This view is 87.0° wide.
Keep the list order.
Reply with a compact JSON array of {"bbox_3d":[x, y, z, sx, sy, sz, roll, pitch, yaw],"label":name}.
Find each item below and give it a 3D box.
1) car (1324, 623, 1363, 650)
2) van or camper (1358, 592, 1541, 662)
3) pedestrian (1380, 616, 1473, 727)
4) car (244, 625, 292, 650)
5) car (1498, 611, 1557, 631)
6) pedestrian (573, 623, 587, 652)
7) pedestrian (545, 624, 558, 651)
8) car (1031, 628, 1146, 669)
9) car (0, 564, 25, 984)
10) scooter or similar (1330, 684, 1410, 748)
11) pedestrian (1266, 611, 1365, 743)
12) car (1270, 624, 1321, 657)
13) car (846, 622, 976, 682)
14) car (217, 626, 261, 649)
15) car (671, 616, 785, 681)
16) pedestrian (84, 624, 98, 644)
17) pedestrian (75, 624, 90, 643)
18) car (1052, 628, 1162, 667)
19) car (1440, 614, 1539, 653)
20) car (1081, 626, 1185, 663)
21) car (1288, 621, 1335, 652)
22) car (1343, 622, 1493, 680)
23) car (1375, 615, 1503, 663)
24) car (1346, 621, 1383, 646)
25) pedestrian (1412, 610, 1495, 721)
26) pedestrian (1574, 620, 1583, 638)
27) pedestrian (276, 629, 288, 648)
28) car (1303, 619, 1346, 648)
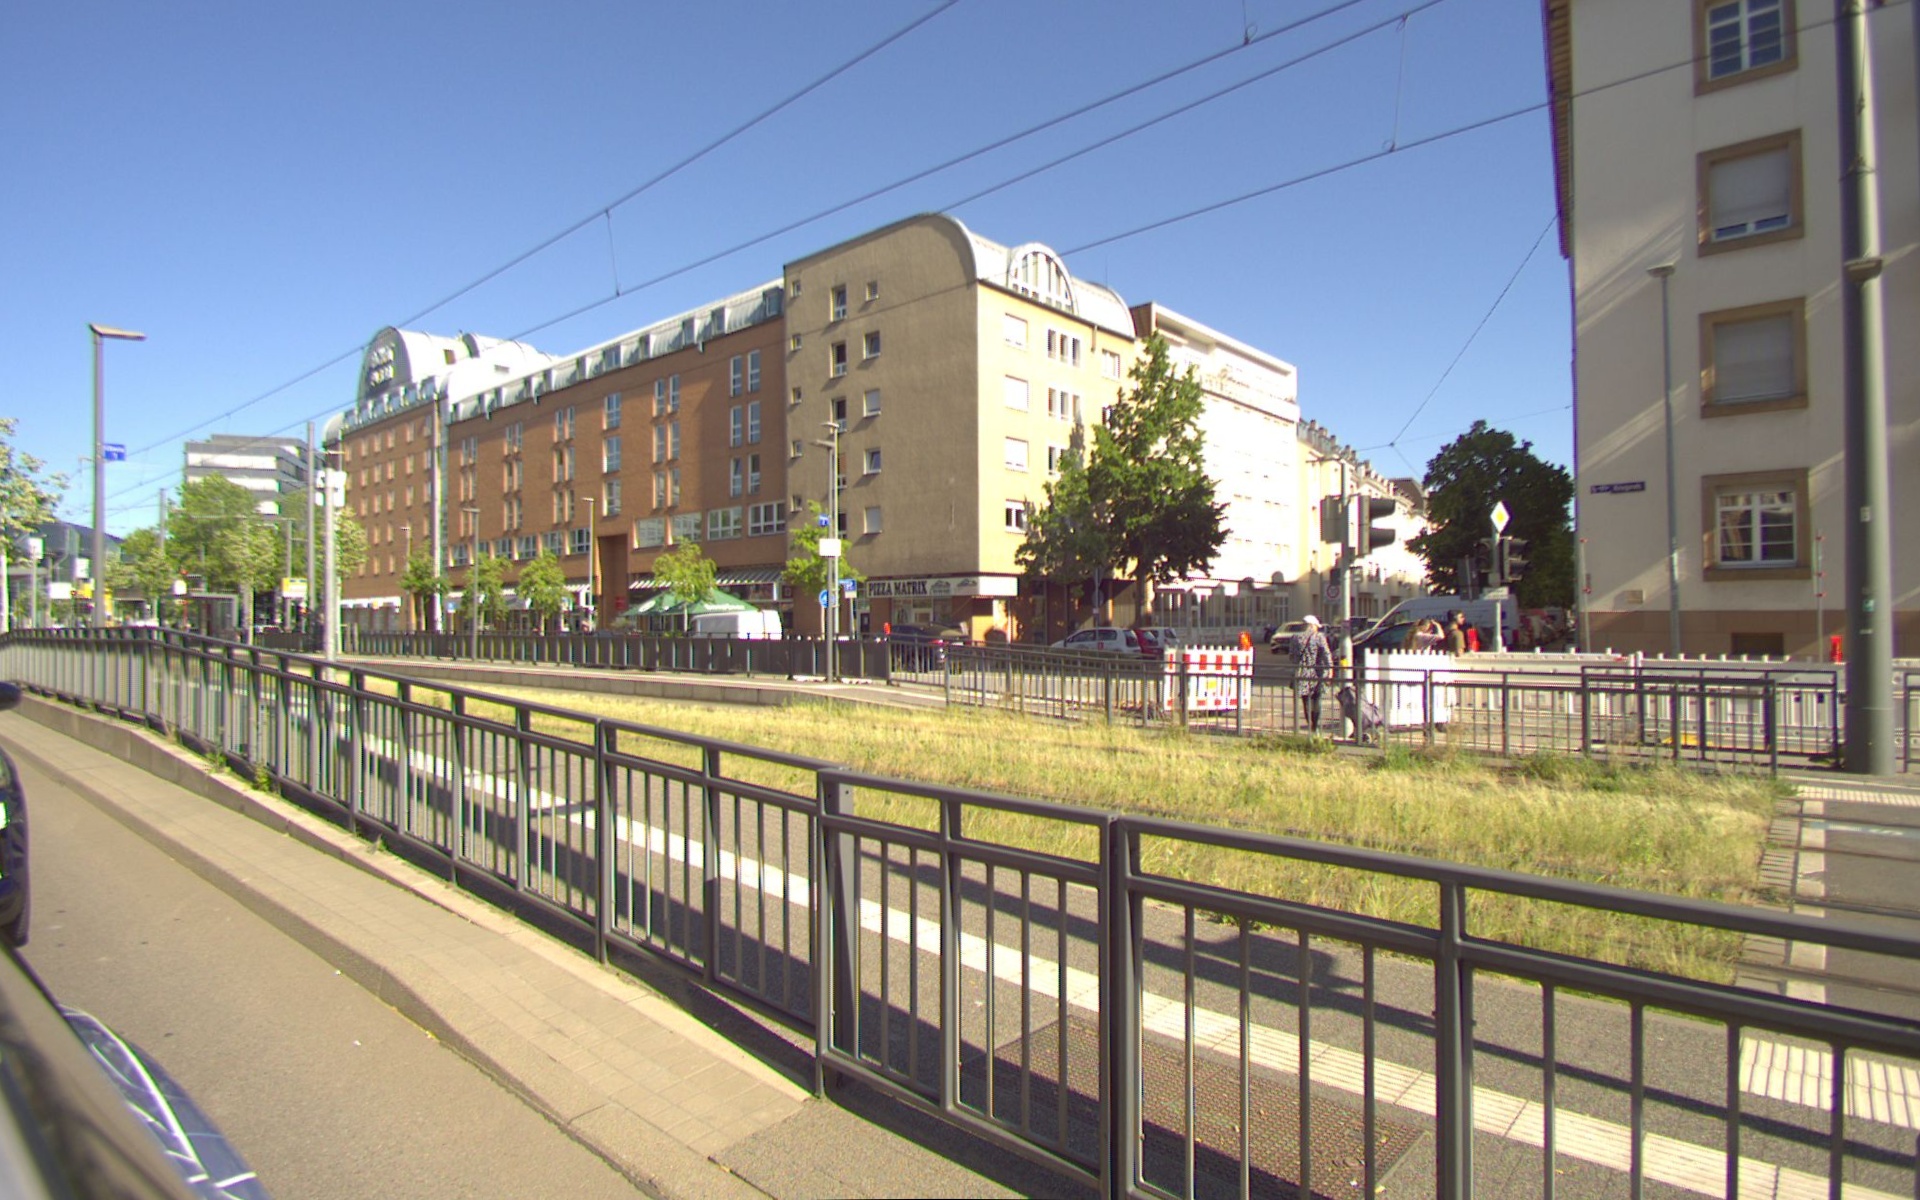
[{"bbox_3d":[25.075,2.369,66.085,1.947,1.674,3.962,-1,-2,28],"label":"car"},{"bbox_3d":[18.026,1.007,37.419,5.933,2.419,1.979,-1,-2,30],"label":"van or camper"},{"bbox_3d":[6.855,1.024,14.889,0.853,1.548,0.911,-1,-1,-37],"label":"pedestrian"},{"bbox_3d":[-50.924,2.730,74.413,3.998,1.696,1.973,-1,0,41],"label":"car"},{"bbox_3d":[44.504,1.657,79.405,3.853,1.472,1.740,-1,-2,24],"label":"car"},{"bbox_3d":[-24.841,2.460,66.116,0.644,1.854,0.614,-2,-2,41],"label":"pedestrian"},{"bbox_3d":[-28.187,2.600,69.835,0.644,1.854,0.614,-2,-2,39],"label":"pedestrian"},{"bbox_3d":[4.902,1.827,38.643,3.980,1.462,1.768,-1,-2,28],"label":"car"},{"bbox_3d":[-5.736,0.699,4.594,3.998,1.618,1.779,-1,0,41],"label":"car"},{"bbox_3d":[4.819,1.355,11.911,0.507,0.656,0.711,-1,-1,-22],"label":"scooter or similar"},{"bbox_3d":[4.412,0.925,12.588,0.784,1.548,0.818,-1,-1,-22],"label":"pedestrian"},{"bbox_3d":[17.770,2.094,53.484,1.947,1.674,3.962,-1,-2,28],"label":"car"},{"bbox_3d":[-1.587,1.589,31.941,3.997,1.773,1.796,-2,-2,40],"label":"car"},{"bbox_3d":[-57.673,2.945,80.911,3.998,1.696,1.973,-1,0,41],"label":"car"},{"bbox_3d":[-9.315,1.861,40.213,1.969,2.388,5.653,0,-2,-41],"label":"car"},{"bbox_3d":[-70.962,2.764,82.629,0.599,1.581,0.911,-2,-1,-28],"label":"pedestrian"},{"bbox_3d":[-72.271,2.742,83.316,0.602,1.581,0.726,-1,-1,4],"label":"pedestrian"},{"bbox_3d":[5.854,1.882,40.414,3.980,1.462,1.768,-1,-2,28],"label":"car"},{"bbox_3d":[25.220,1.577,48.203,3.990,1.789,1.722,-1,-2,35],"label":"car"},{"bbox_3d":[7.238,1.849,42.414,3.980,1.462,1.768,-1,-2,28],"label":"car"},{"bbox_3d":[19.981,2.041,57.435,1.947,1.674,3.962,-1,-2,28],"label":"car"},{"bbox_3d":[12.951,1.411,28.678,3.662,1.533,1.673,-1,-2,32],"label":"car"},{"bbox_3d":[15.827,1.274,33.482,3.654,1.533,1.673,-1,-2,32],"label":"car"},{"bbox_3d":[28.208,2.300,70.522,1.947,1.674,3.962,-1,-2,28],"label":"car"},{"bbox_3d":[8.412,1.086,17.251,0.853,1.794,0.912,-1,-1,-30],"label":"pedestrian"},{"bbox_3d":[62.812,2.967,102.747,0.687,1.768,0.807,-2,-2,34],"label":"pedestrian"},{"bbox_3d":[-63.473,3.575,94.736,0.705,1.769,0.781,0,-2,-12],"label":"pedestrian"},{"bbox_3d":[22.101,1.991,61.260,1.947,1.674,3.962,-1,-2,28],"label":"car"}]
